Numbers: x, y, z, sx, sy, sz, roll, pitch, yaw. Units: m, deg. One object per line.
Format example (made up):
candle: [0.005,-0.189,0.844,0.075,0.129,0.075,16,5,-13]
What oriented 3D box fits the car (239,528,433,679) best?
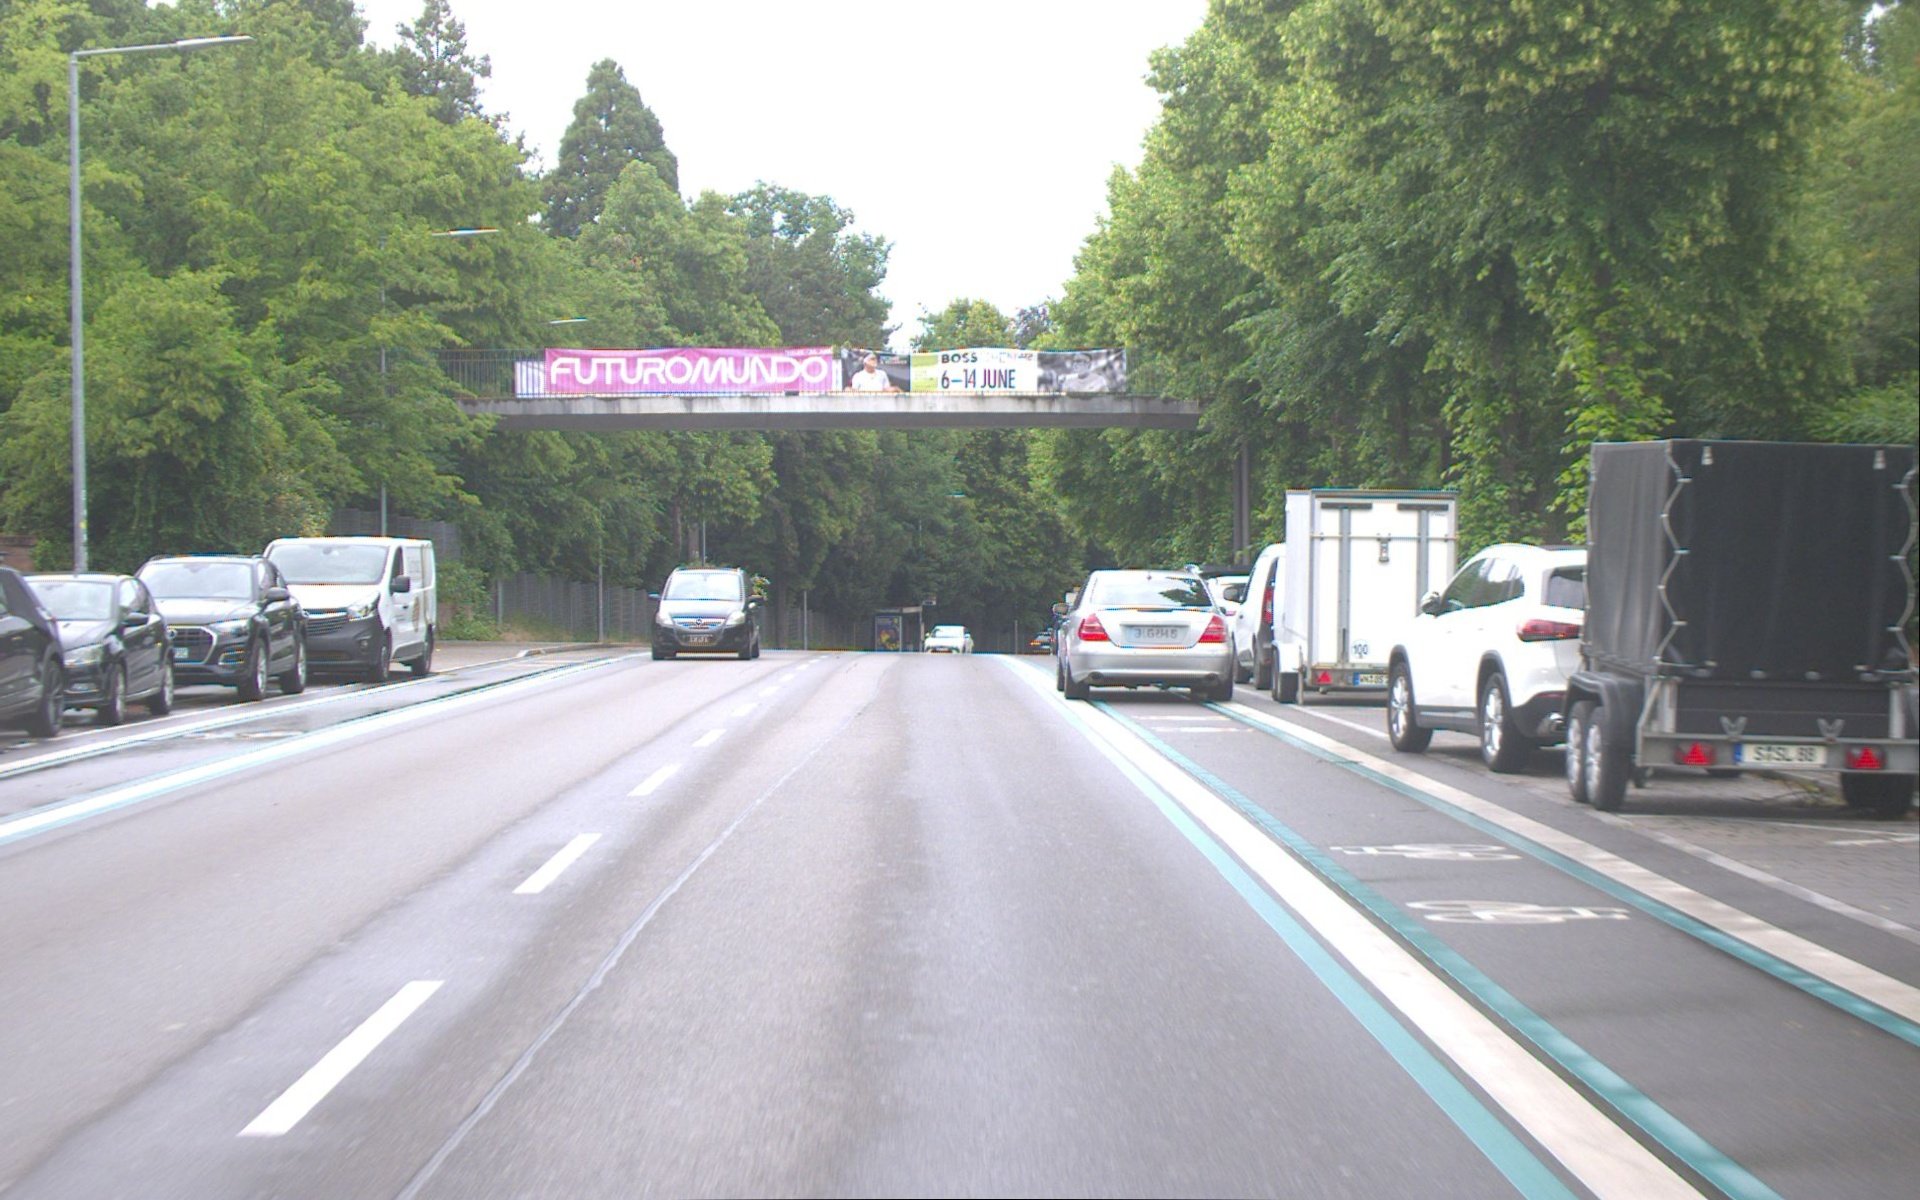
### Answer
car: [-8.466,-0.001,46.969,1.757,1.925,4.193,0,2,2]

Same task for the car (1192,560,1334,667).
car: [4.353,0.160,49.852,1.731,1.457,4.045,0,1,0]

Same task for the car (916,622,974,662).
car: [-0.644,1.813,149.856,1.991,1.600,4.053,0,1,7]

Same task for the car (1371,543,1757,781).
car: [4.296,0.378,25.098,1.730,1.578,4.155,0,1,-5]

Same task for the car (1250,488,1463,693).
car: [4.275,-0.137,37.586,1.889,2.120,4.045,0,1,0]

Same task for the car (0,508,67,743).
car: [-8.776,0.203,28.102,1.990,1.886,4.055,0,2,-2]

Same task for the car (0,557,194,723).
car: [-8.763,0.342,33.609,1.885,1.446,3.983,0,2,-4]

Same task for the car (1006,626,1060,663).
car: [3.307,1.993,154.406,2.140,1.487,4.498,0,2,5]

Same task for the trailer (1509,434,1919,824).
trailer: [4.603,0.123,20.980,1.884,2.158,3.808,0,1,0]

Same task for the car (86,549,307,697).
car: [-8.713,0.219,39.528,1.870,1.536,4.055,0,2,-4]

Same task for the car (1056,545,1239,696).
car: [2.032,0.182,38.206,1.731,1.578,4.037,0,1,-1]

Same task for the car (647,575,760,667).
car: [-4.452,0.341,60.017,1.869,1.468,4.055,-1,1,-4]

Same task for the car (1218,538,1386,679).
car: [4.227,0.066,42.995,1.731,1.678,4.045,0,1,0]
